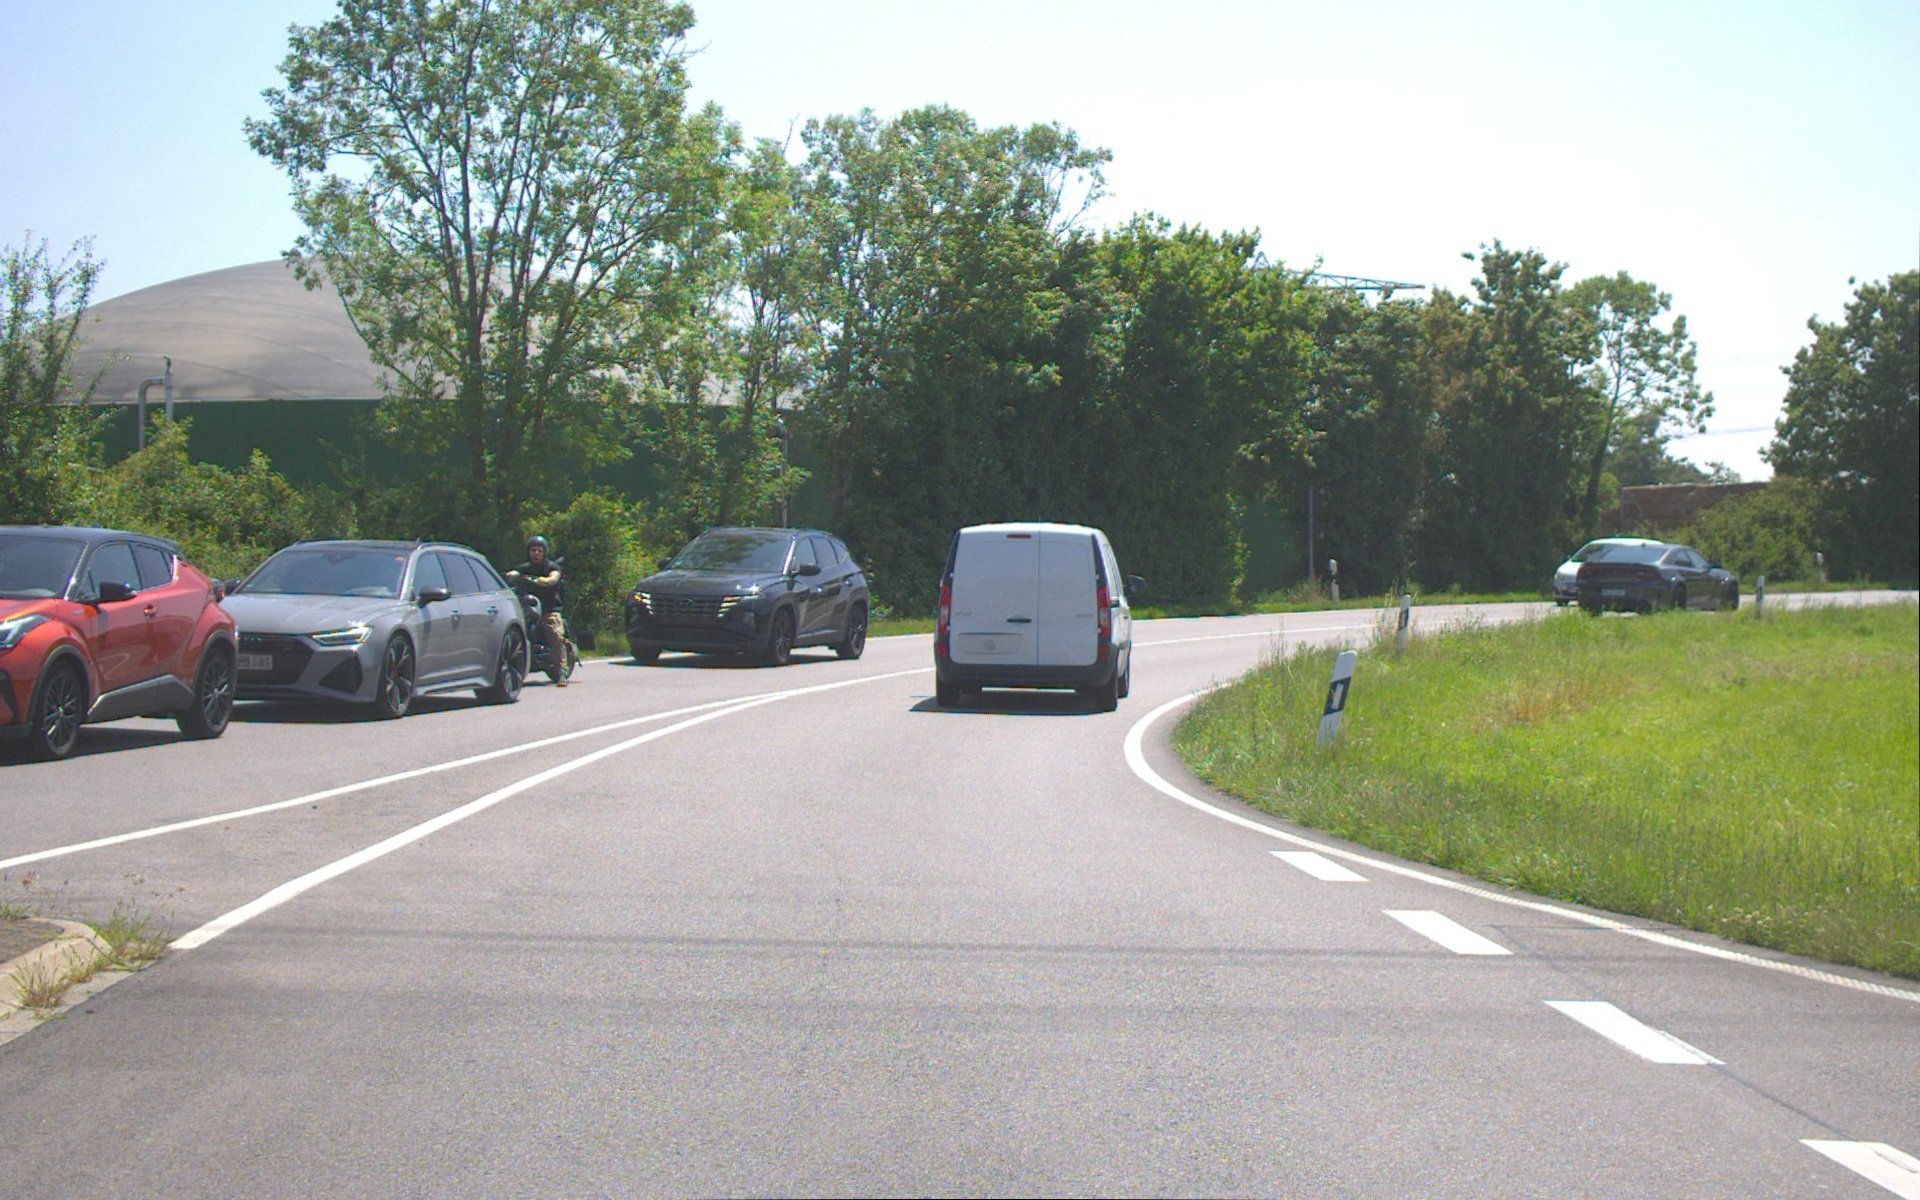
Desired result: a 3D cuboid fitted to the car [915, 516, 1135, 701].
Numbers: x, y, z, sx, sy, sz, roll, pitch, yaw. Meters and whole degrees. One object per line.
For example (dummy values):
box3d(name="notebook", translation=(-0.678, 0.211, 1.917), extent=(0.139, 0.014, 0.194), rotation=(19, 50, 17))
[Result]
box3d(name="car", translation=(0.706, 0.070, 34.205), extent=(1.904, 1.726, 3.821), rotation=(0, 0, 5))

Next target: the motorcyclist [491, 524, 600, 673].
box3d(name="motorcyclist", translation=(-4.235, -0.027, 35.168), extent=(0.781, 1.490, 1.130), rotation=(1, 1, 12))

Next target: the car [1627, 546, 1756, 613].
box3d(name="car", translation=(16.943, -0.464, 79.538), extent=(1.540, 1.438, 3.600), rotation=(4, 2, 36))

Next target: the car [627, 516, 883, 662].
box3d(name="car", translation=(-2.426, -0.173, 41.739), extent=(1.703, 1.632, 4.246), rotation=(2, 2, 17))

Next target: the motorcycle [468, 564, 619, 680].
box3d(name="motorcycle", translation=(-4.239, 0.200, 35.175), extent=(0.782, 1.119, 2.428), rotation=(2, 1, 11))

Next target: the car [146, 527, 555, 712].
box3d(name="car", translation=(-5.175, 0.136, 29.911), extent=(1.842, 1.455, 4.806), rotation=(1, 1, 12))

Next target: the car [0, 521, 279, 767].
box3d(name="car", translation=(-6.482, 0.227, 24.021), extent=(1.800, 1.510, 4.390), rotation=(1, 2, 12))

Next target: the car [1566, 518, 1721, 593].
box3d(name="car", translation=(13.353, -0.851, 67.063), extent=(1.722, 1.415, 3.738), rotation=(0, 0, 33))
